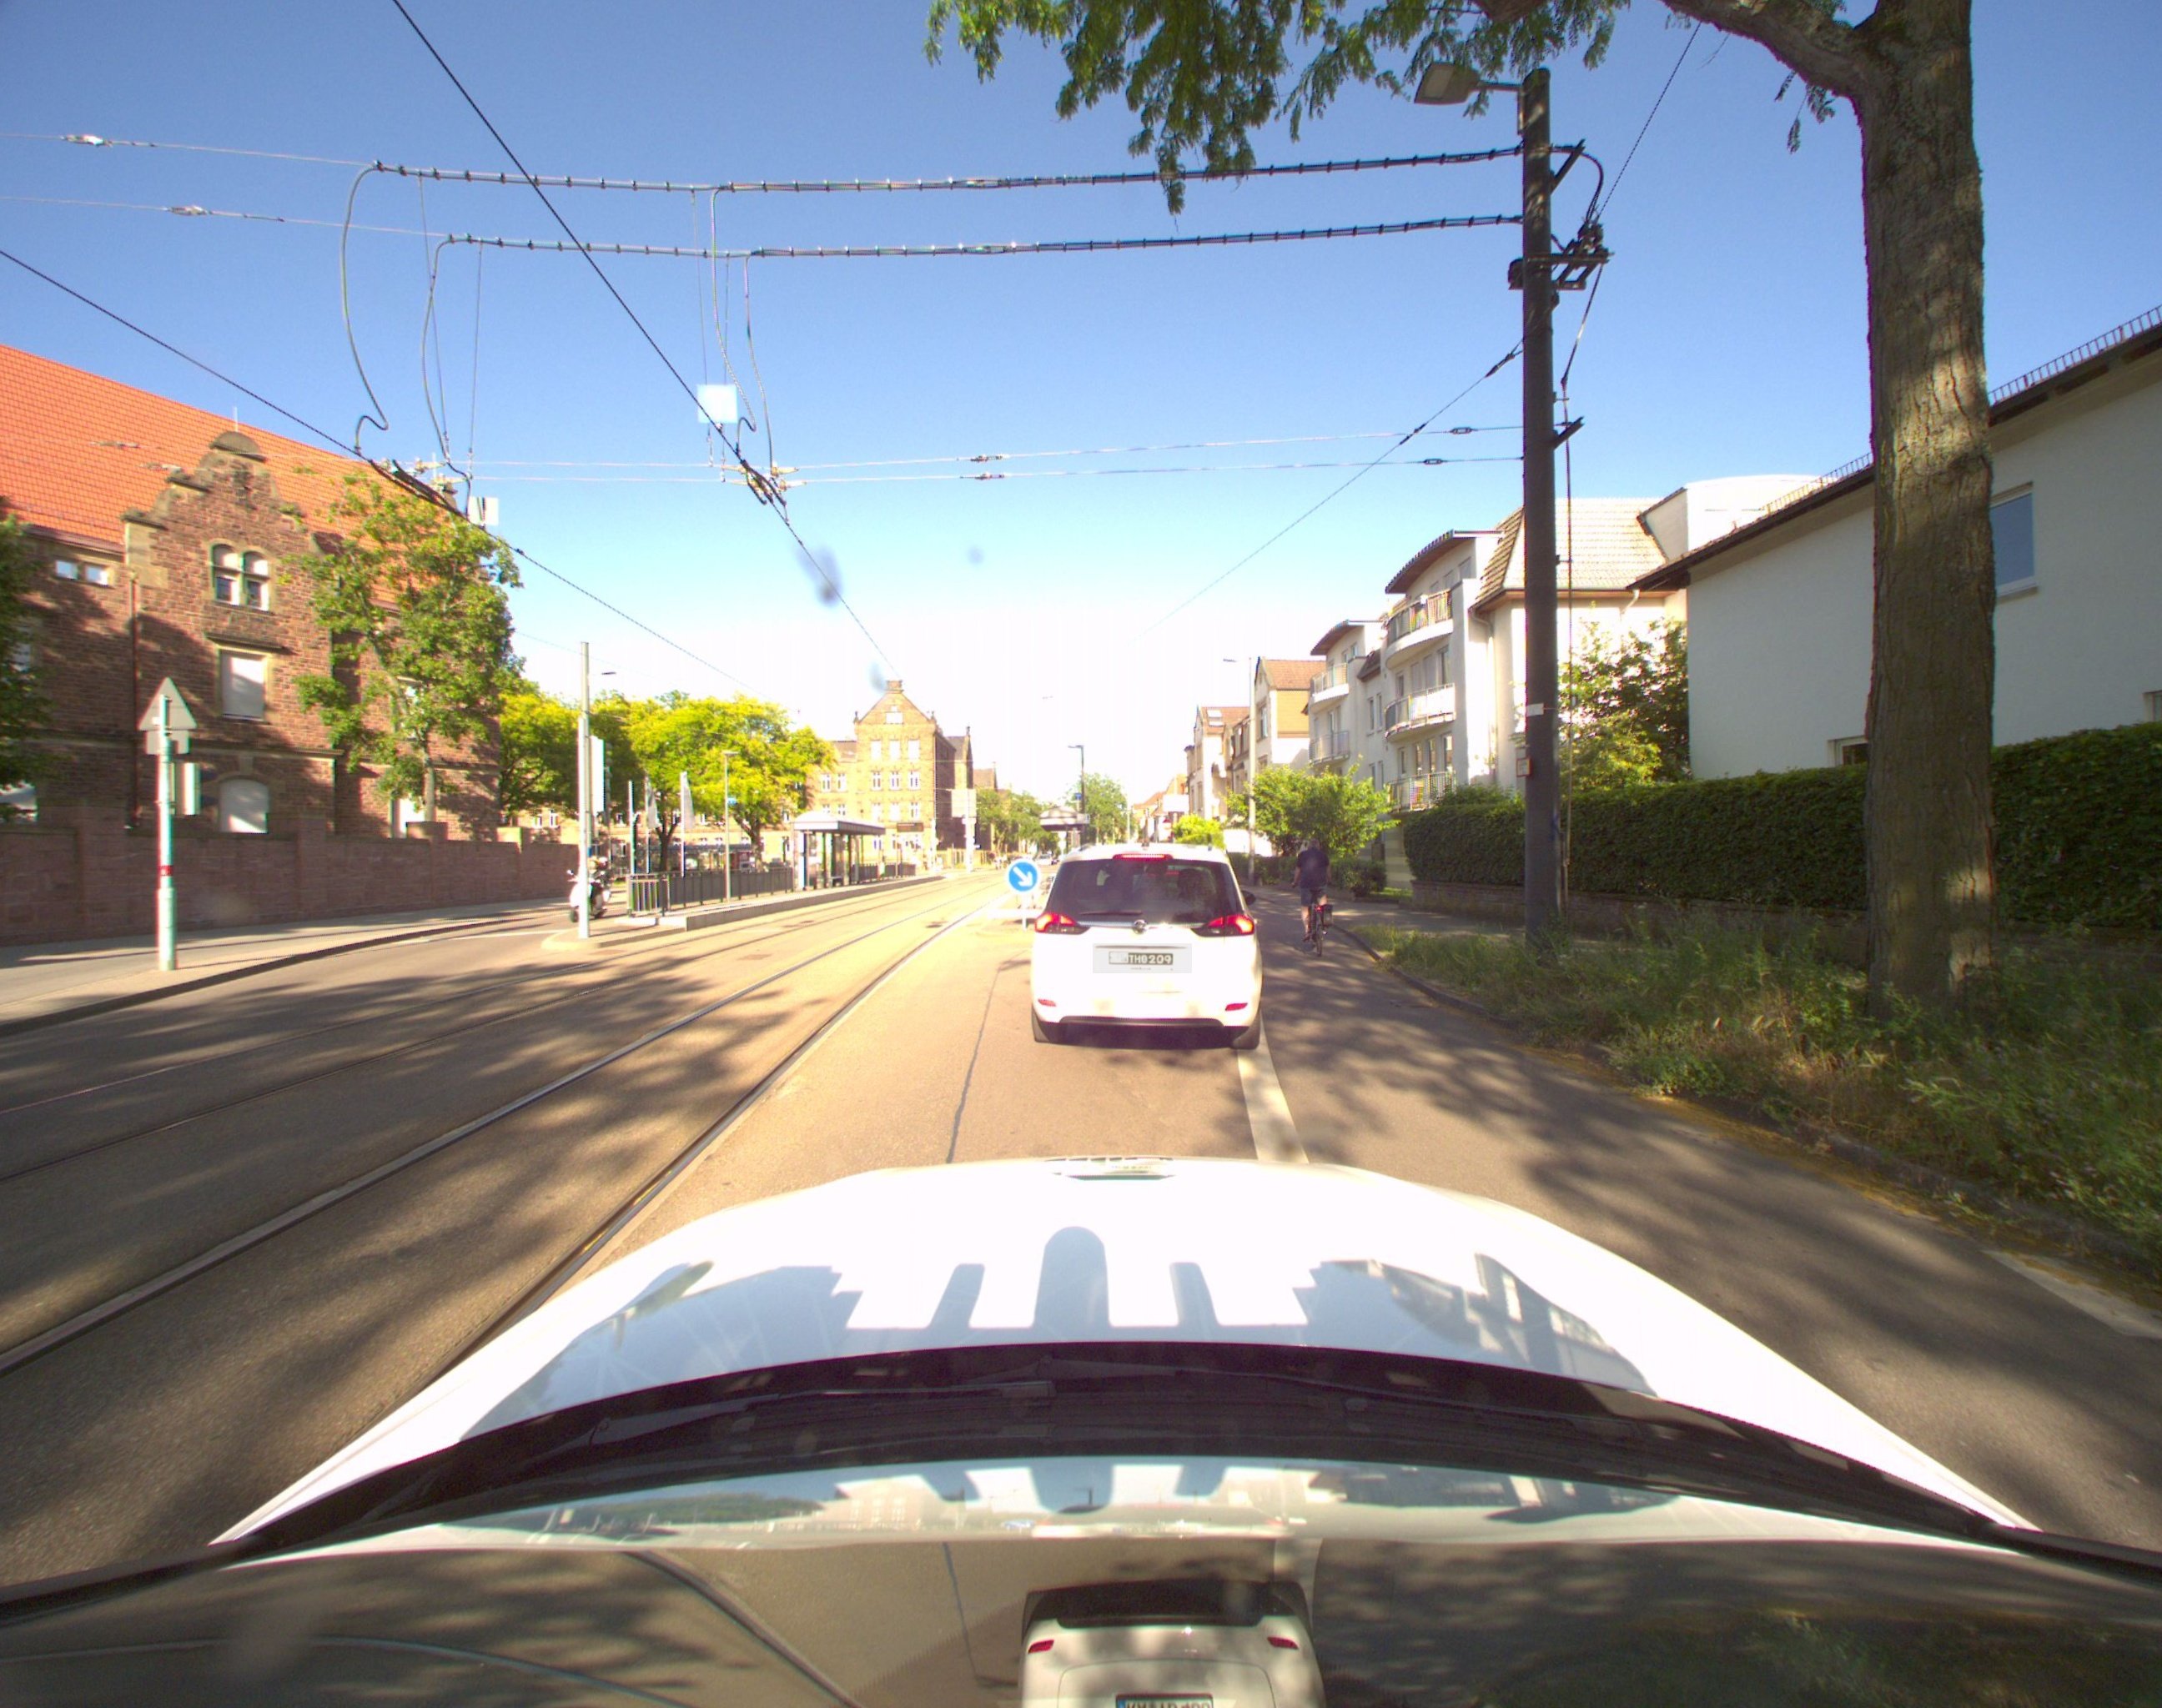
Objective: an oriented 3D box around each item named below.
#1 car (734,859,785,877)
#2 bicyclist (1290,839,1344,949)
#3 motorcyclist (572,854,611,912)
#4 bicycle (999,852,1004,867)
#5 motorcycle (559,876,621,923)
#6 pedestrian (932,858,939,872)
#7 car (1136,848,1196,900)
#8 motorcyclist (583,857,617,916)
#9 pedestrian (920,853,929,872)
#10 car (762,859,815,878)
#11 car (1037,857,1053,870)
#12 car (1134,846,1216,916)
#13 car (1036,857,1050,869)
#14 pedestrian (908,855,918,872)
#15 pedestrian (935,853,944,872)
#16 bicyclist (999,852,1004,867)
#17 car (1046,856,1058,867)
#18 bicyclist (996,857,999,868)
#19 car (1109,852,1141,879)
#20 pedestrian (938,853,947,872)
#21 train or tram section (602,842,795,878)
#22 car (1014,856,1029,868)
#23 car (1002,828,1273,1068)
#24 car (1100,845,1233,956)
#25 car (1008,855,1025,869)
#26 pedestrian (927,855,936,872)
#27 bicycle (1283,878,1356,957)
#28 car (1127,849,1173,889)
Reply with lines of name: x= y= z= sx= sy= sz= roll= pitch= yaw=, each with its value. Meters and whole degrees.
car: x=-29.653 y=1.315 z=75.208 sx=3.976 sy=1.630 sz=1.817 roll=0 pitch=-1 yaw=-2
bicyclist: x=3.738 y=0.622 z=12.947 sx=0.613 sy=1.686 sz=0.779 roll=-1 pitch=0 yaw=1
motorcyclist: x=-12.362 y=0.721 z=20.573 sx=0.683 sy=1.440 sz=0.445 roll=-1 pitch=0 yaw=-8
bicycle: x=-10.678 y=0.706 z=109.495 sx=0.485 sy=2.013 sz=1.406 roll=-1 pitch=0 yaw=2
motorcycle: x=-12.356 y=1.120 z=20.554 sx=0.609 sy=1.093 sz=1.851 roll=-1 pitch=0 yaw=-7
pedestrian: x=-17.157 y=1.258 z=95.919 sx=0.651 sy=1.612 sz=0.712 roll=0 pitch=-1 yaw=4
car: x=2.974 y=0.653 z=28.338 sx=1.897 sy=1.661 sz=4.007 roll=-1 pitch=0 yaw=6
motorcyclist: x=-12.420 y=0.831 z=21.046 sx=0.606 sy=1.516 sz=0.464 roll=-1 pitch=0 yaw=-8
pedestrian: x=-17.061 y=0.942 z=88.942 sx=0.800 sy=2.014 sz=0.713 roll=0 pitch=-1 yaw=-32
car: x=-25.445 y=1.239 z=70.965 sx=3.976 sy=1.630 sz=1.817 roll=0 pitch=-1 yaw=-2
car: x=-4.706 y=1.258 z=107.665 sx=1.740 sy=1.716 sz=4.001 roll=0 pitch=-1 yaw=2
car: x=2.519 y=0.640 z=21.066 sx=1.896 sy=1.624 sz=4.010 roll=-1 pitch=0 yaw=9
car: x=-5.369 y=1.289 z=115.544 sx=1.740 sy=1.716 sz=4.001 roll=0 pitch=-1 yaw=2
pedestrian: x=-18.448 y=1.050 z=89.648 sx=0.802 sy=1.901 sz=0.747 roll=-1 pitch=-1 yaw=16
pedestrian: x=-15.553 y=0.936 z=89.529 sx=0.801 sy=2.014 sz=0.713 roll=0 pitch=-1 yaw=-35
bicyclist: x=-10.682 y=0.706 z=109.501 sx=0.496 sy=2.013 sz=0.572 roll=-1 pitch=0 yaw=1
car: x=-4.600 y=1.184 z=129.390 sx=1.740 sy=1.716 sz=4.001 roll=0 pitch=-1 yaw=2
bicyclist: x=-10.663 y=1.059 z=103.492 sx=0.312 sy=1.444 sz=0.384 roll=-1 pitch=0 yaw=1
car: x=2.841 y=0.753 z=53.174 sx=1.901 sy=1.661 sz=4.000 roll=-1 pitch=0 yaw=0
pedestrian: x=-14.551 y=0.869 z=85.508 sx=0.796 sy=2.014 sz=0.717 roll=0 pitch=-1 yaw=-15
train or tram section: x=-37.843 y=0.576 z=81.141 sx=17.346 sy=3.154 sz=3.344 roll=-1 pitch=-1 yaw=-3
car: x=-8.328 y=1.118 z=114.112 sx=1.740 sy=1.716 sz=4.001 roll=0 pitch=-1 yaw=2
car: x=0.696 y=0.665 z=7.756 sx=1.896 sy=1.661 sz=4.010 roll=-1 pitch=0 yaw=9
car: x=1.556 y=0.688 z=13.860 sx=1.896 sy=1.597 sz=4.010 roll=-1 pitch=0 yaw=9
car: x=-8.497 y=1.032 z=107.445 sx=1.740 sy=1.716 sz=4.001 roll=0 pitch=-1 yaw=2
pedestrian: x=-17.160 y=1.058 z=93.369 sx=0.801 sy=1.901 sz=0.747 roll=-1 pitch=-1 yaw=20
bicycle: x=3.747 y=0.961 z=12.959 sx=0.621 sy=1.097 sz=1.974 roll=-1 pitch=0 yaw=2
car: x=2.995 y=0.618 z=36.182 sx=1.899 sy=1.661 sz=4.003 roll=-1 pitch=0 yaw=3
